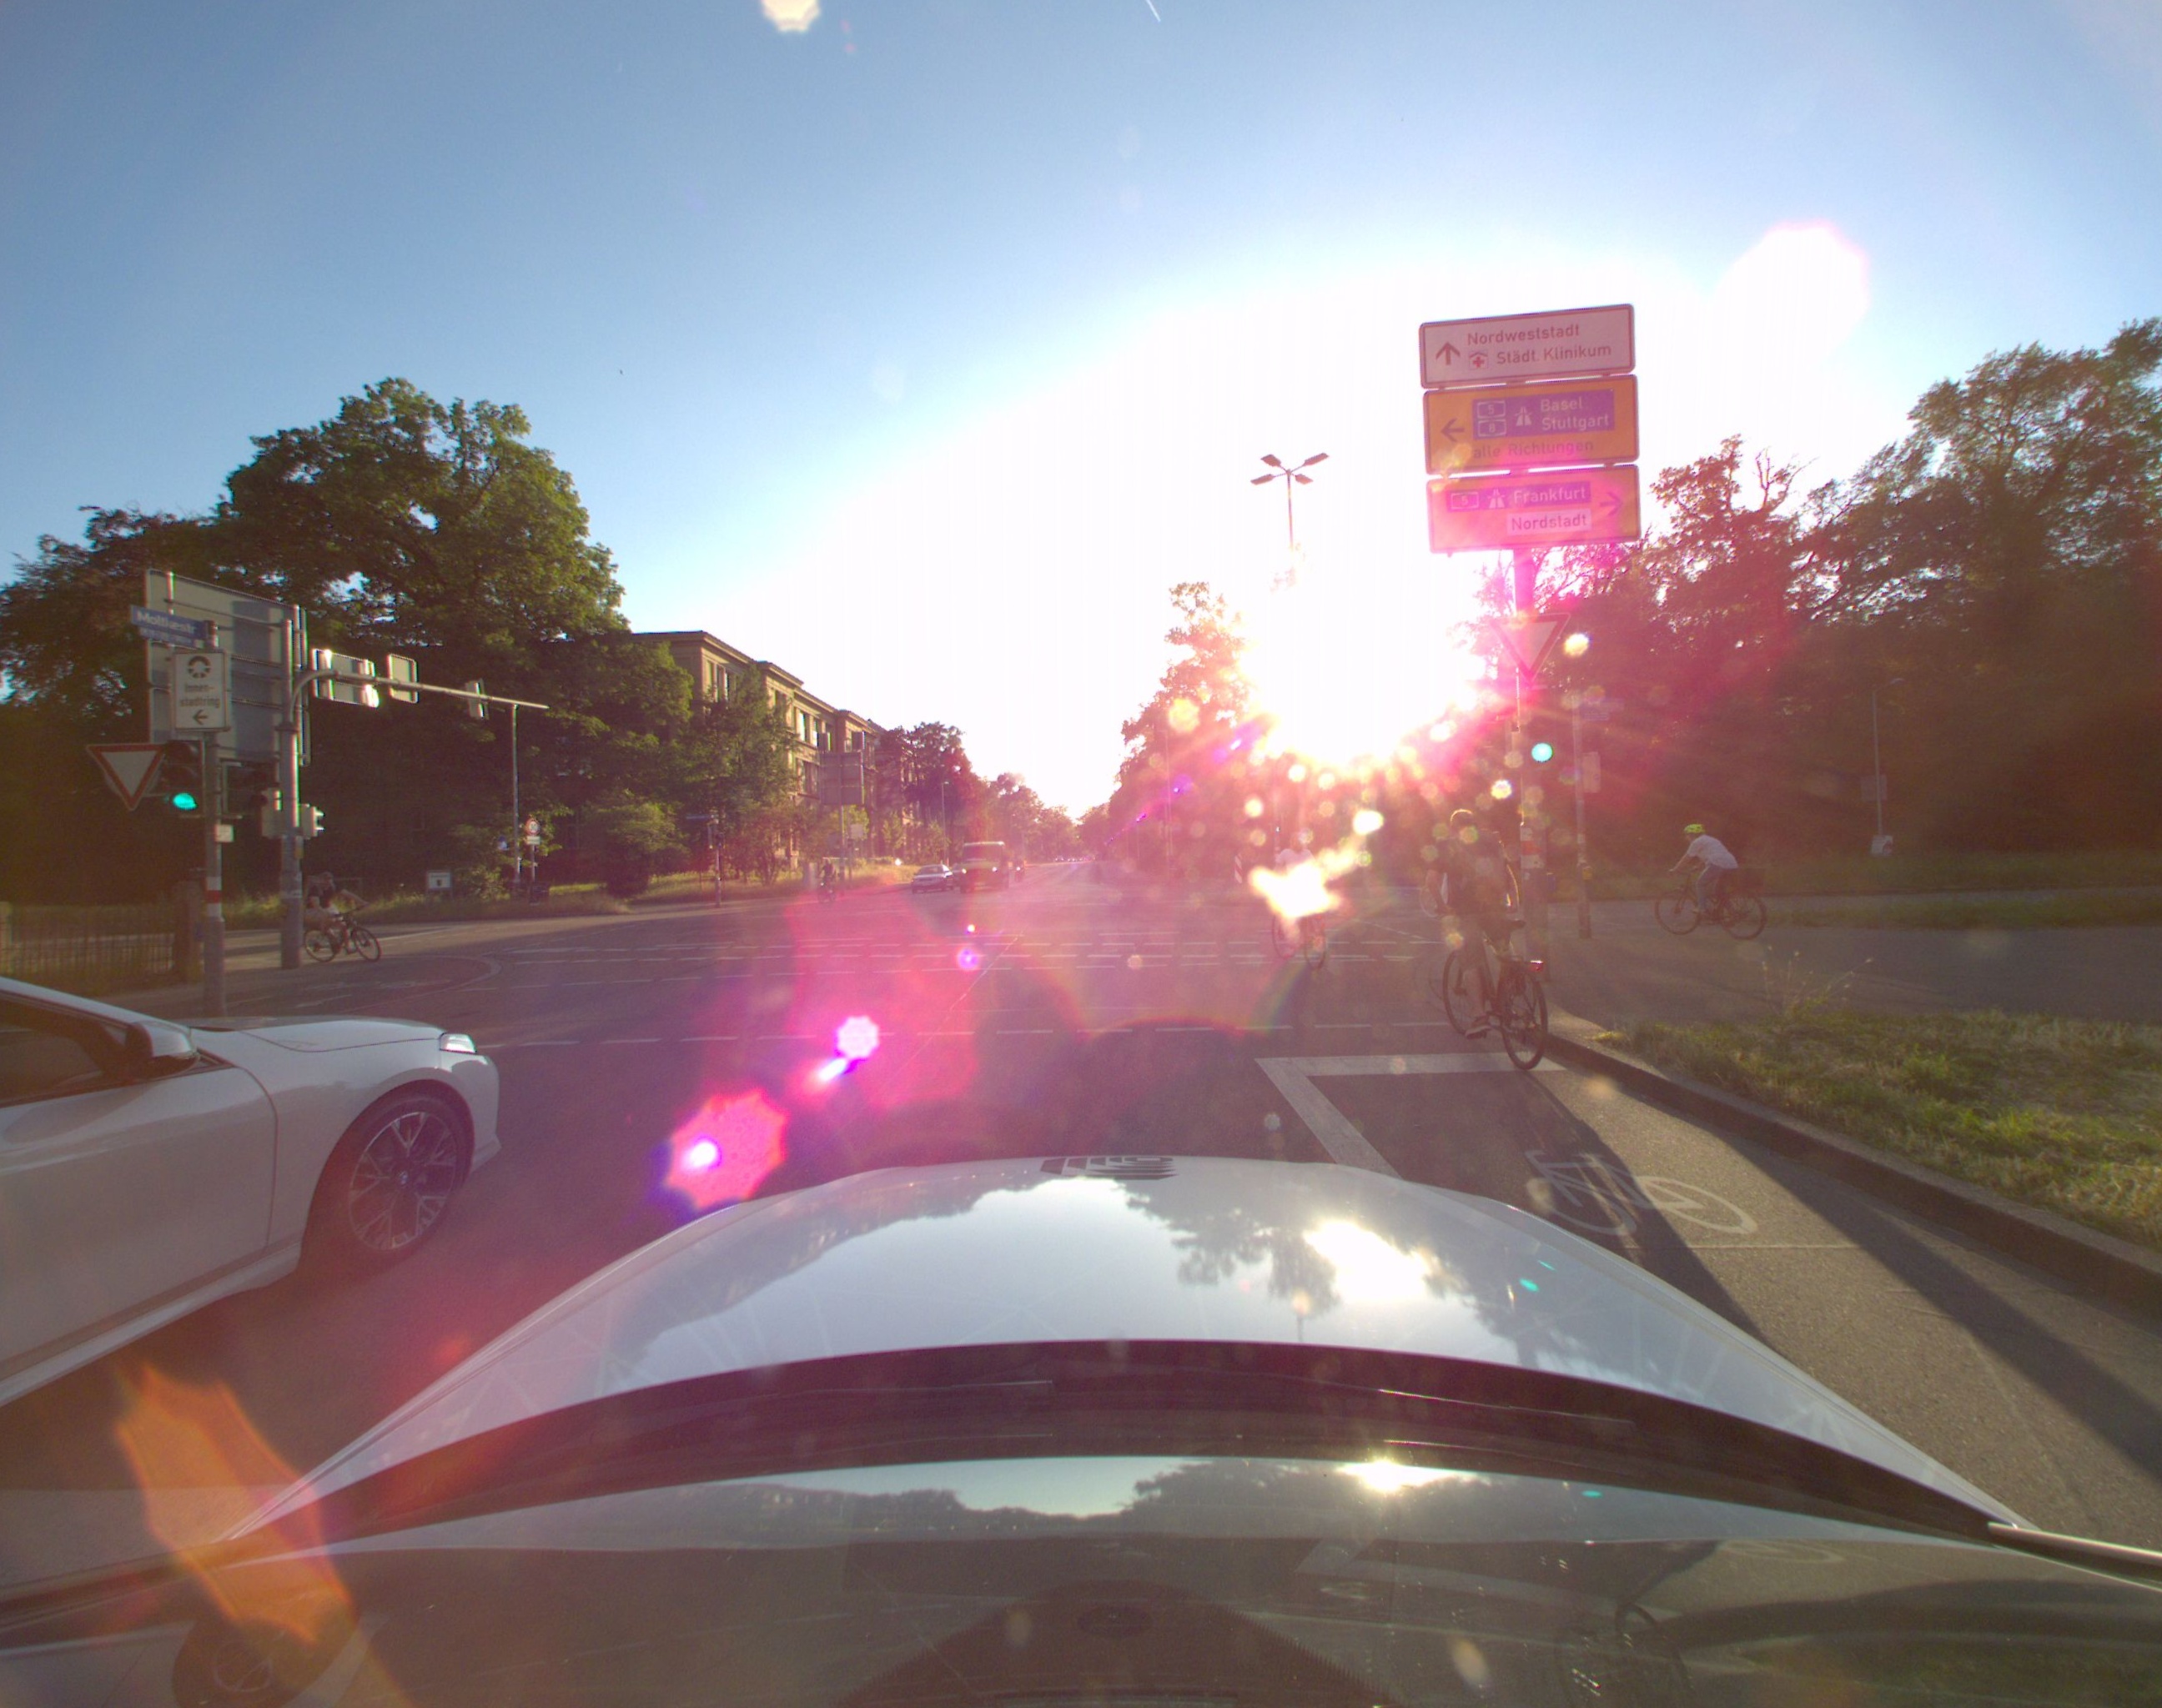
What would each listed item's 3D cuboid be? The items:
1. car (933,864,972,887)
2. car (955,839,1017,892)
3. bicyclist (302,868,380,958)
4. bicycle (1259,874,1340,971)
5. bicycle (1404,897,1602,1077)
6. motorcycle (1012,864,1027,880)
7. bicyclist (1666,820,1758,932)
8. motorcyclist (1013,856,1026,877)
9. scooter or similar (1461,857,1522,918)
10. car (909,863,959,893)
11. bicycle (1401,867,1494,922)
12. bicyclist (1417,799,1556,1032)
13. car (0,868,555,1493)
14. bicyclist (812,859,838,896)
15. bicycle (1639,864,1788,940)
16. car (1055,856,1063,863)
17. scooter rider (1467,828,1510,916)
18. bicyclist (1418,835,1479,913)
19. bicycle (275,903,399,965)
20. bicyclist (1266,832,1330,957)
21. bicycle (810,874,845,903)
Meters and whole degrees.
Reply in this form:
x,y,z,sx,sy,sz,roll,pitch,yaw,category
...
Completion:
x,y,z,sx,sy,sz,roll,pitch,yaw,category
-8.198,1.352,52.269,1.758,1.328,3.644,-2,0,1,car
-4.469,0.539,39.338,2.031,2.278,5.943,-2,0,2,car
-13.957,1.094,15.374,0.906,1.633,0.654,0,-1,8,bicyclist
2.895,0.870,10.963,0.611,1.138,1.885,-1,0,2,bicycle
3.081,0.907,6.165,0.695,1.063,1.828,-1,0,6,bicycle
-4.015,1.162,53.379,0.751,1.001,1.879,-2,0,2,motorcycle
9.317,0.316,12.053,0.554,1.569,0.895,-2,-1,-12,bicyclist
-4.031,0.801,53.435,0.747,1.358,0.704,-2,-1,1,motorcyclist
8.414,0.664,16.734,0.559,1.189,1.423,-2,-1,3,scooter or similar
-7.693,1.219,42.876,1.723,1.409,4.141,-2,0,2,car
7.416,0.794,16.584,0.770,1.007,2.010,-1,0,-8,bicycle
3.083,0.443,6.262,0.695,1.667,0.799,-1,-1,5,bicyclist
-3.480,0.826,1.866,1.746,1.466,4.189,-2,0,1,car
-10.619,0.968,33.817,0.680,1.512,0.956,-2,-1,1,bicyclist
9.319,0.671,12.092,0.564,1.014,1.795,-2,0,-11,bicycle
-5.173,1.223,189.308,1.766,1.474,3.772,-2,0,-2,car
8.408,0.364,16.814,0.563,1.766,0.505,-2,-1,2,scooter rider
7.421,0.387,16.491,0.759,1.518,0.854,-1,0,-8,bicyclist
-14.036,1.499,15.387,1.886,1.089,0.662,0,-1,8,bicycle
2.880,0.521,10.893,0.601,1.586,0.910,-1,-1,1,bicyclist
-10.591,1.415,34.071,0.684,1.123,2.169,-2,0,2,bicycle
